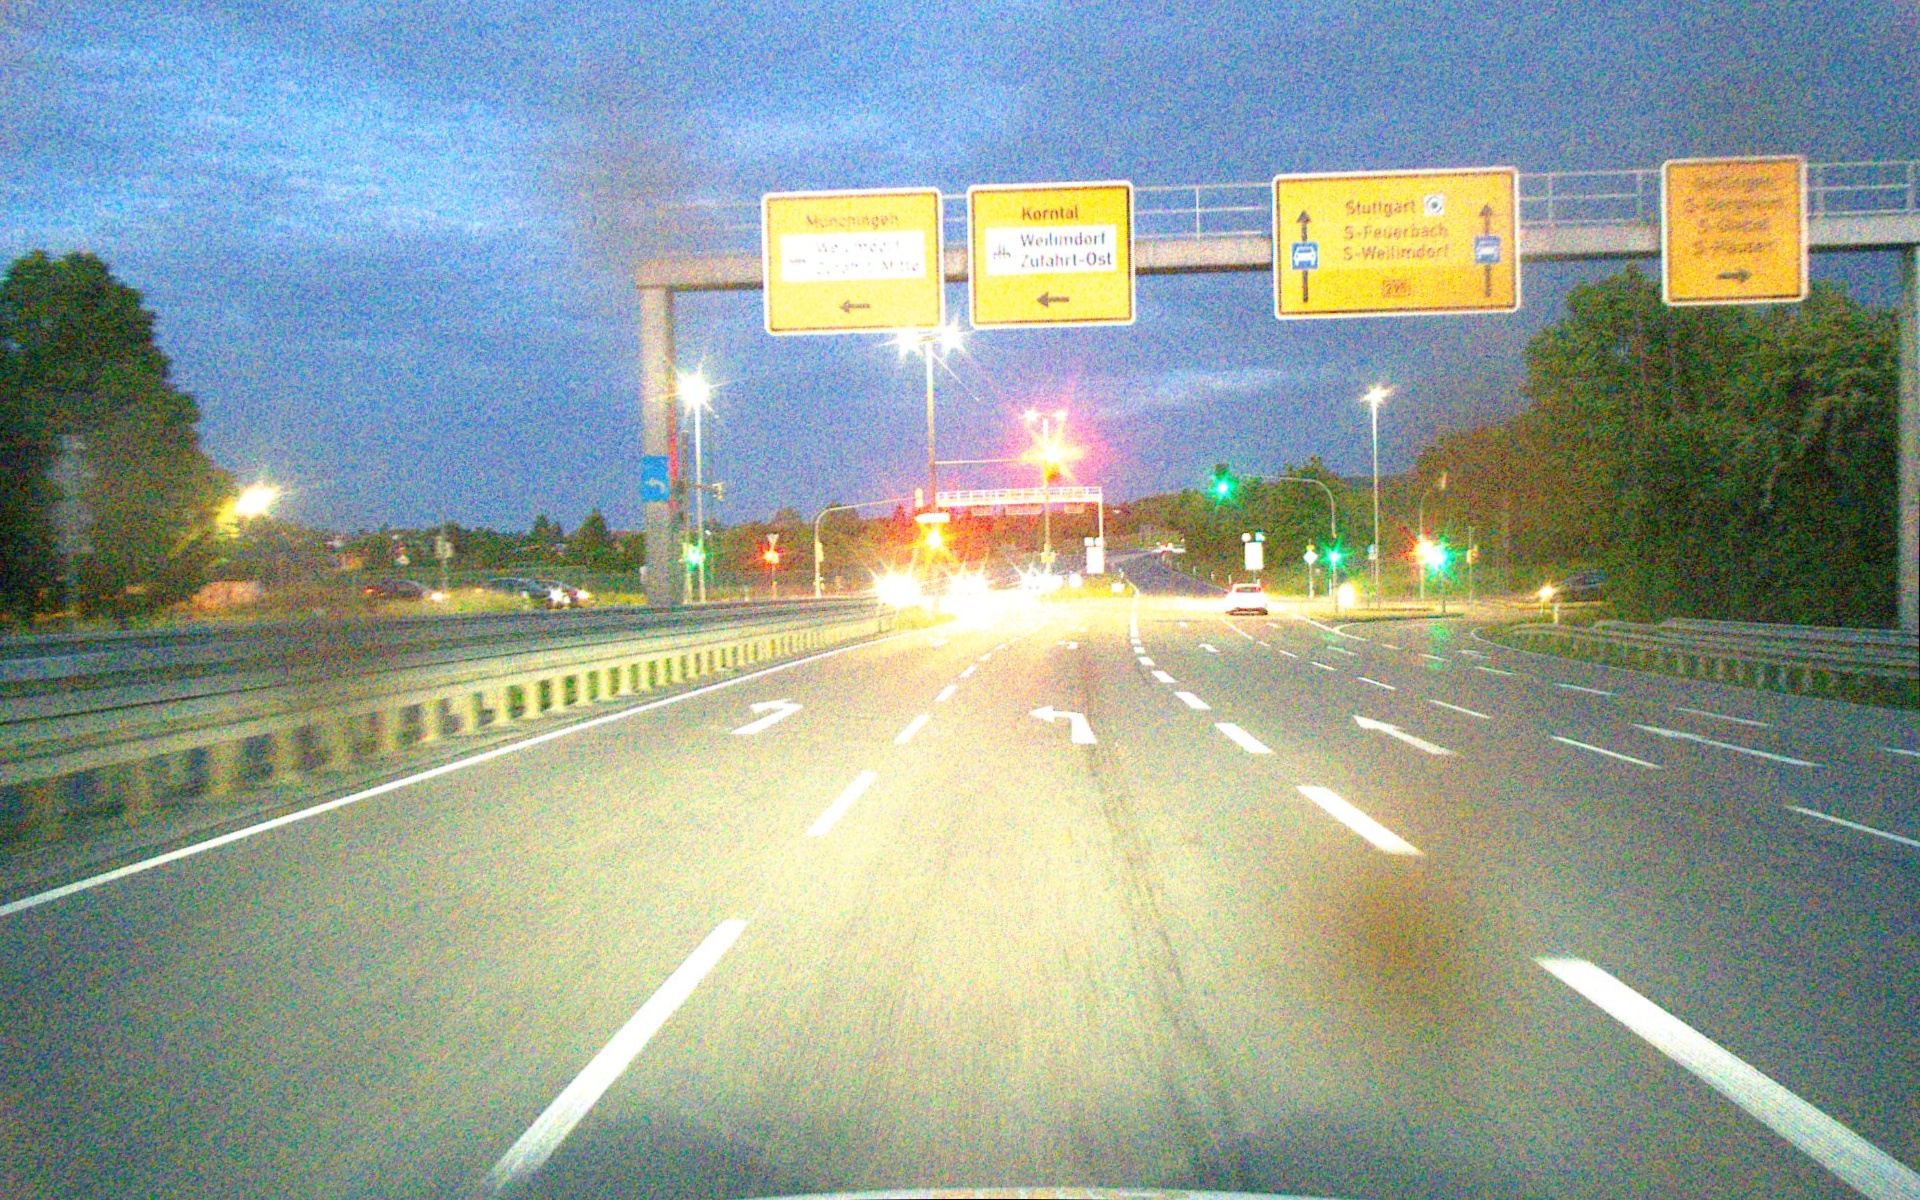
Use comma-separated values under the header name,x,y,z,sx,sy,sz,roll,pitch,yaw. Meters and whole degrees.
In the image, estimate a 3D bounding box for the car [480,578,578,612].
name,x,y,z,sx,sy,sz,roll,pitch,yaw
car,-20.829,-0.237,80.013,4.222,1.564,1.731,-1,1,5

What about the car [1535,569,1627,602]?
name,x,y,z,sx,sy,sz,roll,pitch,yaw
car,31.676,-0.748,84.391,3.988,1.596,2.004,-1,1,3

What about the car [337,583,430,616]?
name,x,y,z,sx,sy,sz,roll,pitch,yaw
car,-28.170,-0.039,80.909,3.905,1.499,1.729,-1,1,0

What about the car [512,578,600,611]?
name,x,y,z,sx,sy,sz,roll,pitch,yaw
car,-20.323,-0.286,83.336,3.956,1.564,1.730,-1,1,3

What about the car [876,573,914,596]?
name,x,y,z,sx,sy,sz,roll,pitch,yaw
car,-4.315,-1.040,109.927,1.951,1.450,4.535,0,1,5

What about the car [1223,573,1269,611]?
name,x,y,z,sx,sy,sz,roll,pitch,yaw
car,13.119,-0.388,76.027,1.965,1.639,3.849,-2,0,9

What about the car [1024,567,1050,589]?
name,x,y,z,sx,sy,sz,roll,pitch,yaw
car,6.354,-1.860,136.863,1.951,1.727,4.003,0,1,5

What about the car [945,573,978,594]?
name,x,y,z,sx,sy,sz,roll,pitch,yaw
car,0.108,-1.208,119.155,1.951,1.507,4.685,0,1,5
